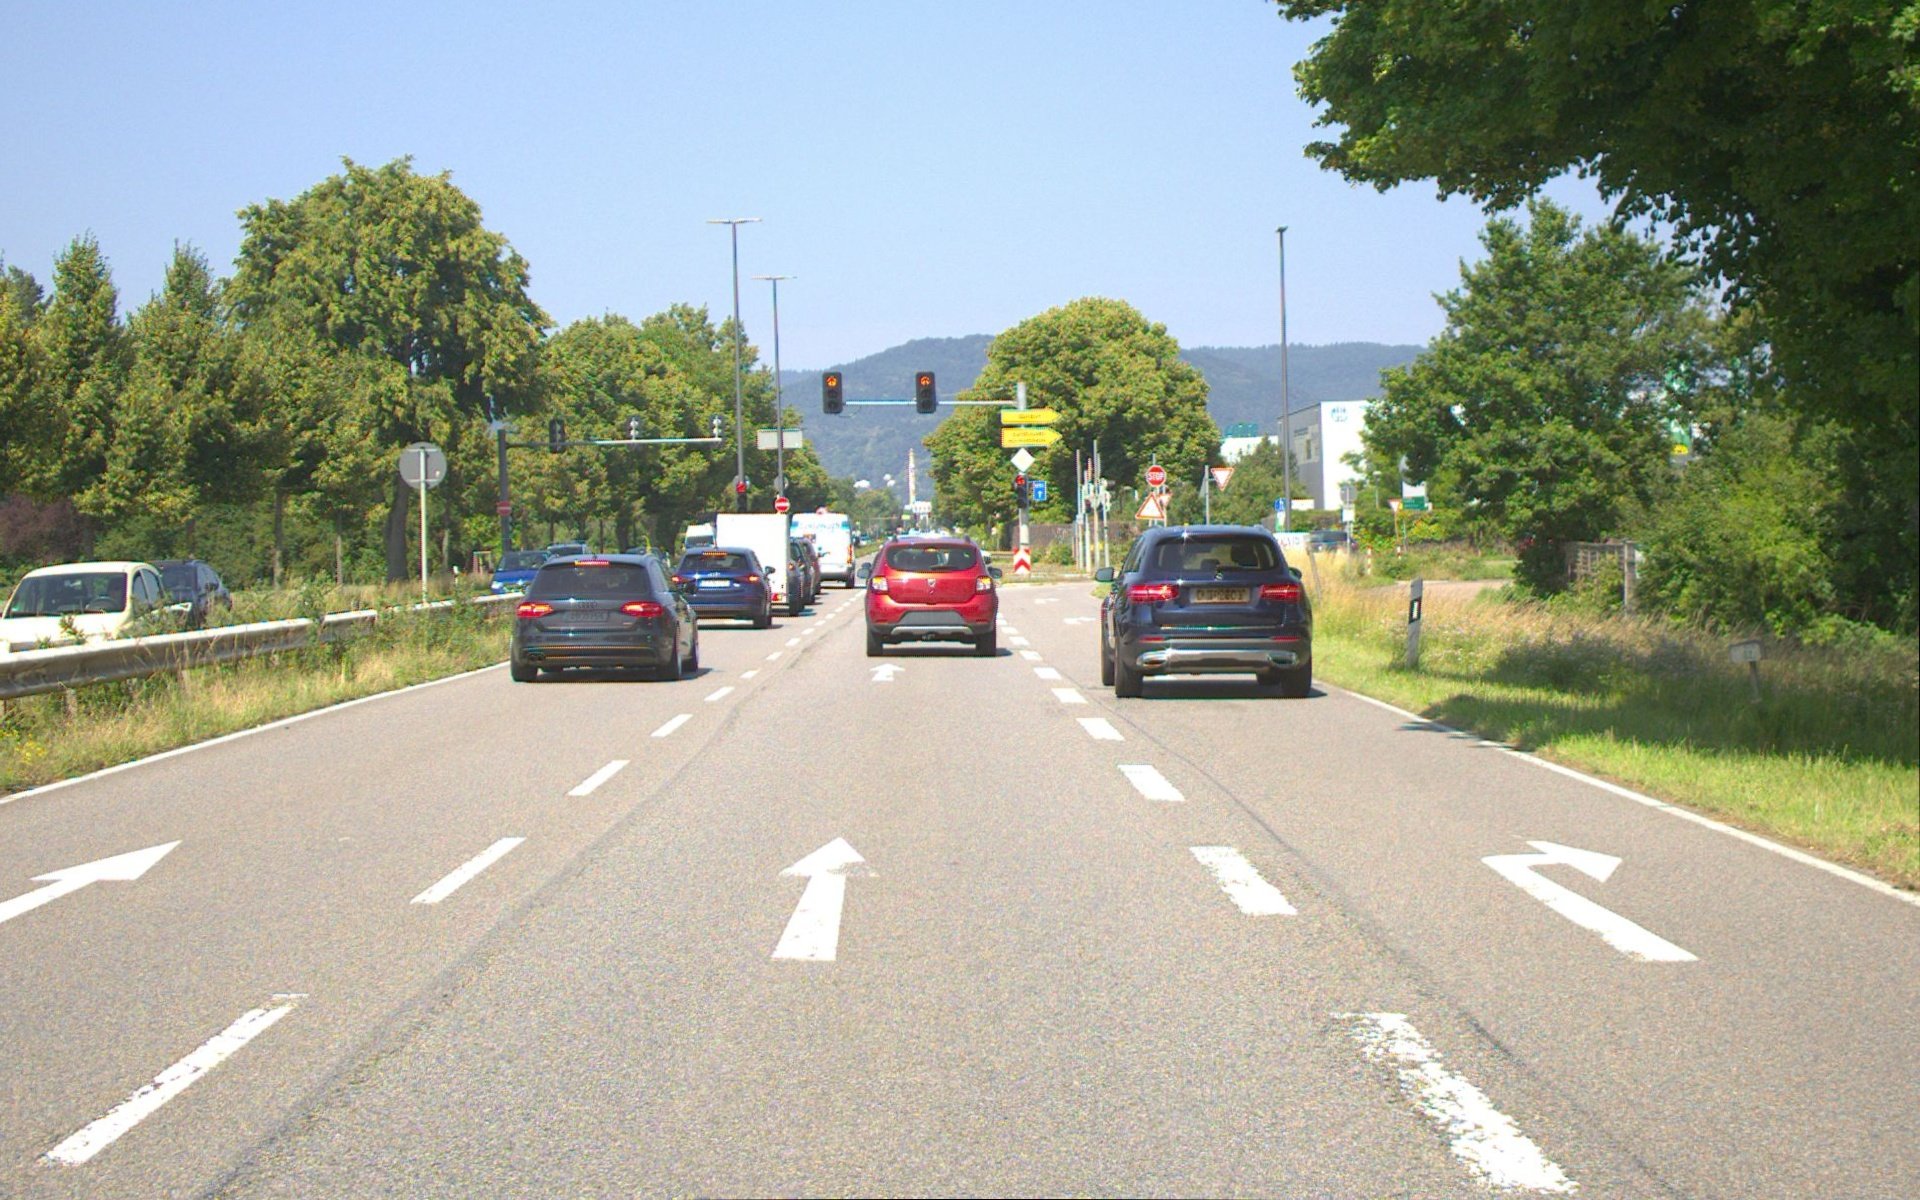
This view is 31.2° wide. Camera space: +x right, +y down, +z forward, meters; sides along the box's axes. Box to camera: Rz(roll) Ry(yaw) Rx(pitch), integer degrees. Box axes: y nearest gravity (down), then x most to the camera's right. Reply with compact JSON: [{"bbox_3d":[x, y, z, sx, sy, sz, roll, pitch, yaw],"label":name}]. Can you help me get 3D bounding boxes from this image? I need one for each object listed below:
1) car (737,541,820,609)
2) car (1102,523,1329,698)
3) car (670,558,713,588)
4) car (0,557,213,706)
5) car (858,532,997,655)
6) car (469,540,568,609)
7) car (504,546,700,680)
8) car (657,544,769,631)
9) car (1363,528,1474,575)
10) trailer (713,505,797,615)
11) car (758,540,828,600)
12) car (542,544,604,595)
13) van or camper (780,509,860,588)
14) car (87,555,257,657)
[{"bbox_3d":[-4.296,-0.613,81.760,1.723,1.570,3.892,-1,1,0],"label":"car"},{"bbox_3d":[2.447,0.052,33.870,1.993,1.611,4.339,0,1,1],"label":"car"},{"bbox_3d":[-13.618,-1.397,174.824,1.879,1.449,4.505,-2,1,-1],"label":"car"},{"bbox_3d":[-9.946,0.314,38.900,1.993,1.551,4.481,-1,1,0],"label":"car"},{"bbox_3d":[-0.394,-0.120,45.868,1.749,1.570,3.676,0,1,1],"label":"car"},{"bbox_3d":[-11.222,-0.681,87.653,1.993,1.657,4.481,-2,1,-1],"label":"car"},{"bbox_3d":[-3.948,0.102,38.507,1.740,1.375,4.455,-1,1,0],"label":"car"},{"bbox_3d":[-4.323,-0.241,60.560,1.717,1.460,4.030,-1,1,-1],"label":"car"},{"bbox_3d":[16.689,-1.763,125.059,3.820,1.575,2.073,-1,1,11],"label":"car"},{"bbox_3d":[-4.180,-0.838,70.533,1.500,2.166,4.174,-1,1,-1],"label":"trailer"},{"bbox_3d":[-4.615,-0.854,95.570,1.724,1.594,3.955,-1,1,0],"label":"car"},{"bbox_3d":[-15.638,-1.243,139.181,1.993,1.945,4.830,-2,1,-1],"label":"car"},{"bbox_3d":[-4.288,-1.599,106.070,2.179,2.295,4.827,-2,1,1],"label":"van or camper"},{"bbox_3d":[-13.679,0.077,59.939,1.993,1.657,4.481,-1,1,-1],"label":"car"}]
